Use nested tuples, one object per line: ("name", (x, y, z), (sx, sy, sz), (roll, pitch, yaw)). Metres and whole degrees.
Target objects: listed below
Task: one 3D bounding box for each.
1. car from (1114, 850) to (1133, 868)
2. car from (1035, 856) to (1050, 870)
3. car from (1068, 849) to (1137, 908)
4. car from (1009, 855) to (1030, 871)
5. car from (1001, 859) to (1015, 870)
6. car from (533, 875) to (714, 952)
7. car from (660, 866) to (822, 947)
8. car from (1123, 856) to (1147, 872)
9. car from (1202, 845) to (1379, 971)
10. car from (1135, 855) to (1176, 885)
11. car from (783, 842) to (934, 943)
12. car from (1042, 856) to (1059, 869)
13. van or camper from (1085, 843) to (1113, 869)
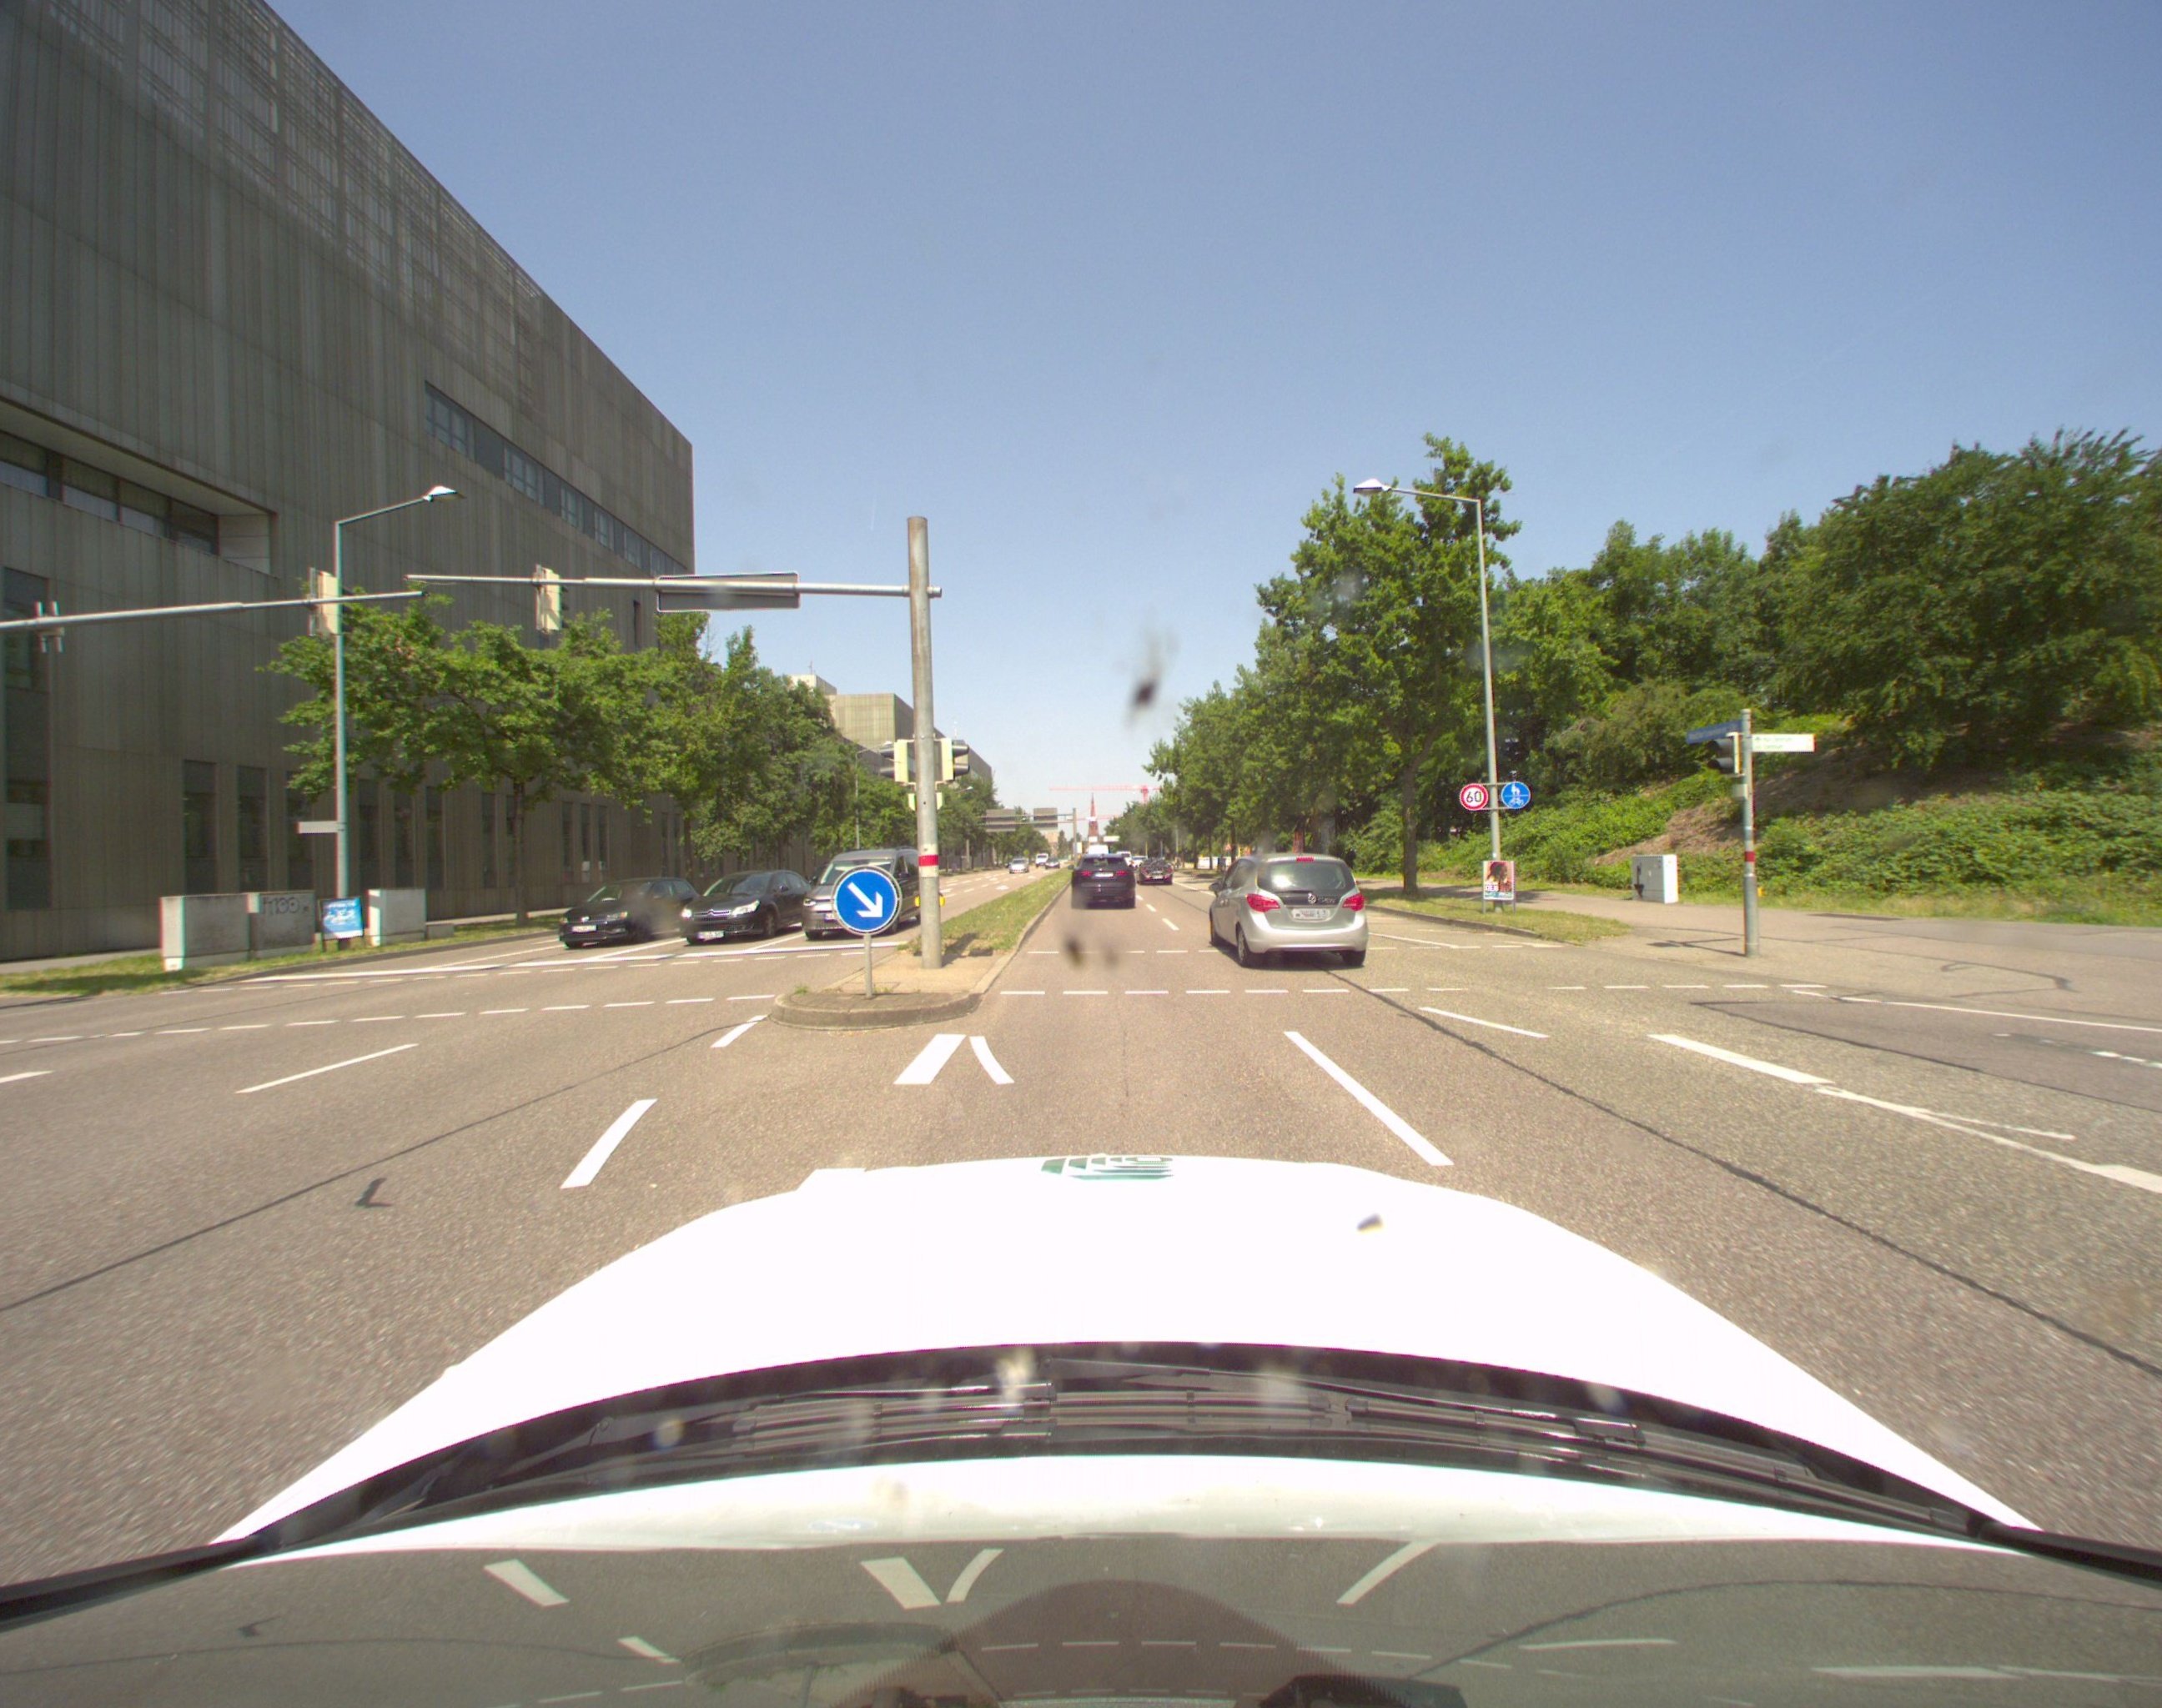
("car", (4.838, 0.590, 93.063), (1.986, 2.013, 4.001), (-2, 0, 2))
("car", (-5.856, 1.310, 123.736), (1.903, 1.993, 4.898), (-3, 0, 0))
("car", (0.708, 0.711, 25.524), (1.990, 1.689, 4.036), (-1, 0, 2))
("car", (-6.216, 0.894, 82.420), (1.760, 1.460, 4.143), (-3, 0, -1))
("car", (-11.978, 1.686, 133.985), (1.805, 1.747, 4.644), (-3, 0, -1))
("car", (-10.436, 1.279, 18.997), (1.805, 1.417, 4.248), (-3, 0, -1))
("car", (-7.324, 1.063, 18.059), (1.805, 1.446, 4.248), (-3, 0, -1))
("car", (4.895, 0.889, 74.751), (1.651, 1.356, 4.455), (-2, -1, -3))
("car", (3.050, 0.710, 12.678), (1.786, 1.612, 3.891), (-2, 0, 1))
("car", (3.960, 0.843, 44.031), (2.006, 1.517, 4.463), (-2, -1, 3))
("car", (-4.634, 0.723, 17.751), (1.804, 1.801, 4.715), (-3, 0, 1))
("car", (-3.652, 1.057, 99.457), (1.804, 1.466, 4.057), (-3, 0, 1))
("van or camper", (1.722, 0.221, 78.598), (2.485, 2.291, 4.920), (-2, -1, 0))
